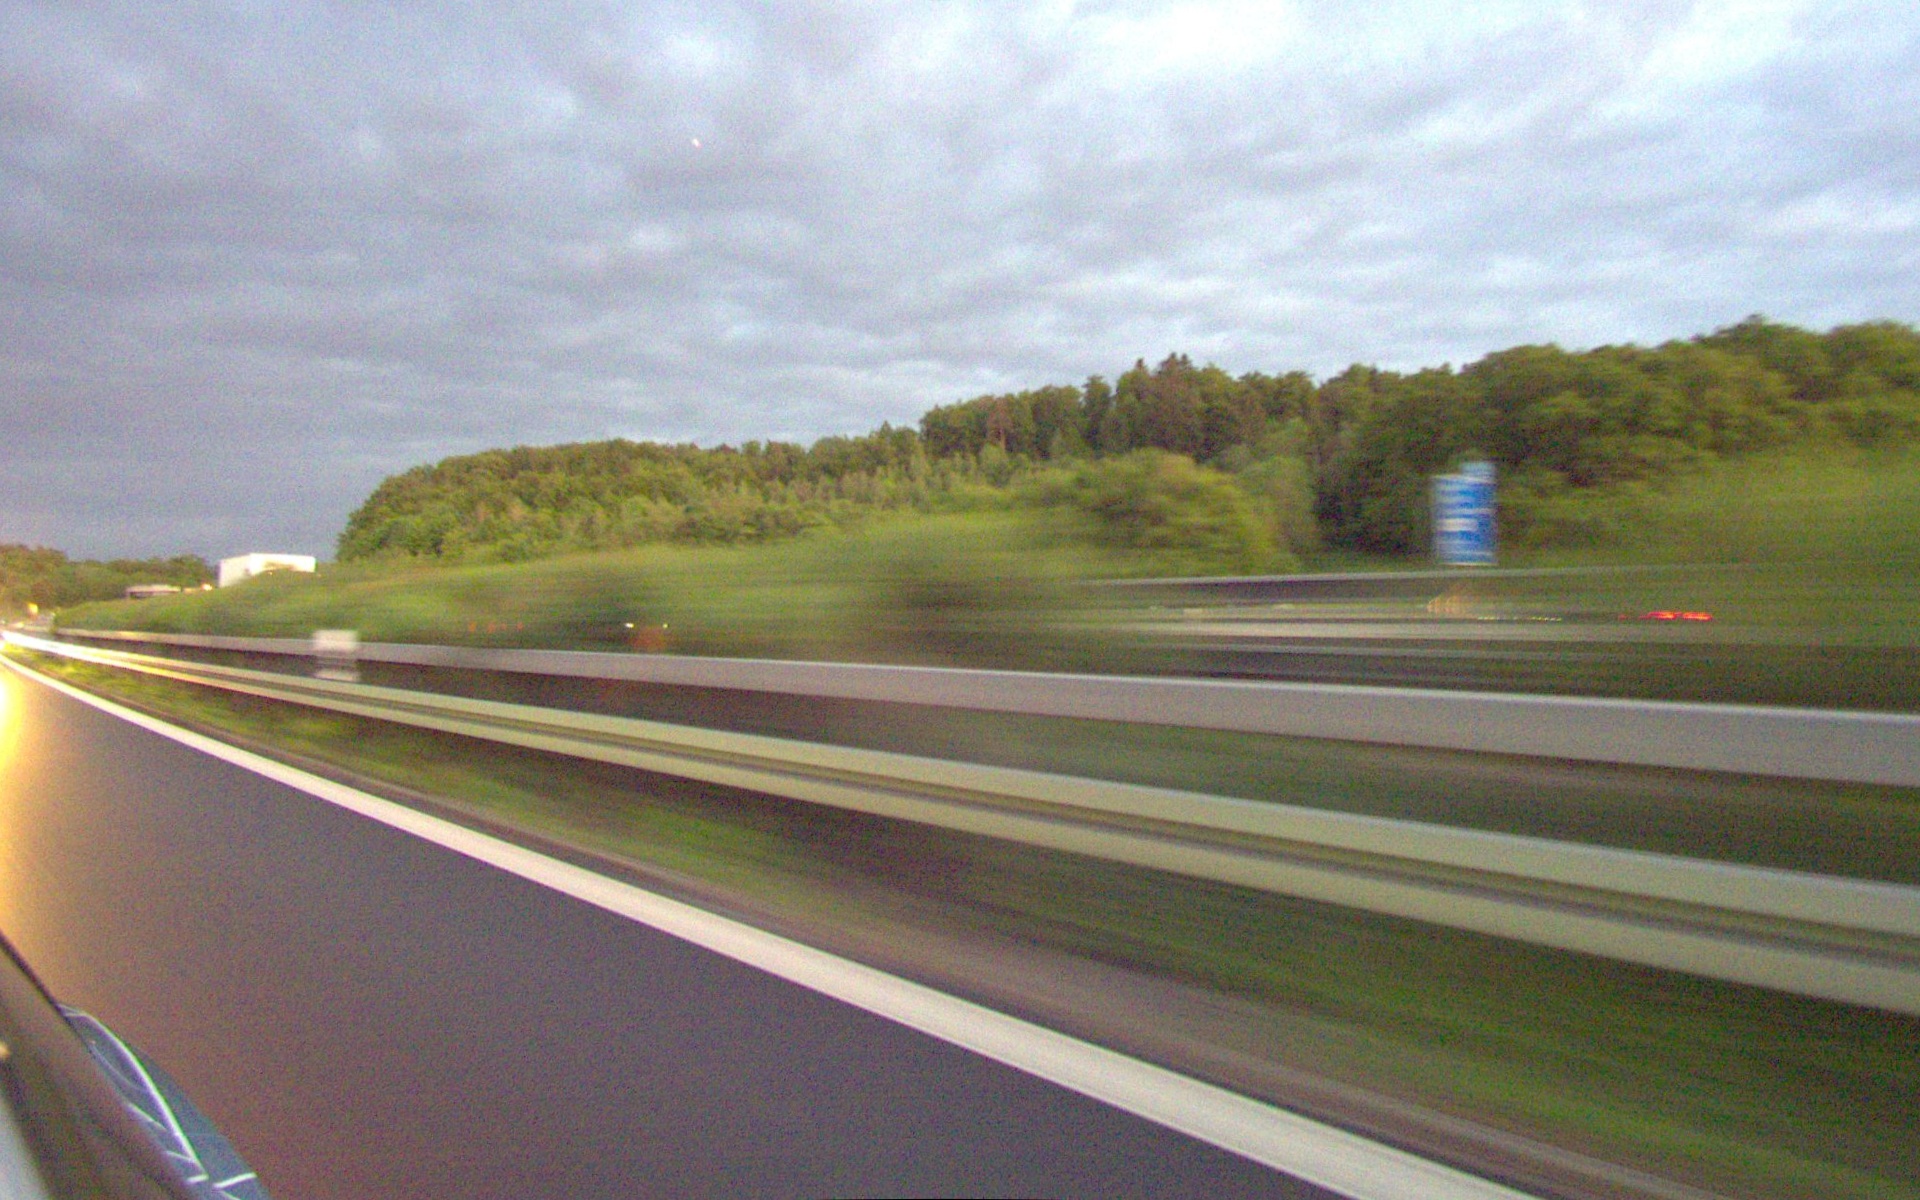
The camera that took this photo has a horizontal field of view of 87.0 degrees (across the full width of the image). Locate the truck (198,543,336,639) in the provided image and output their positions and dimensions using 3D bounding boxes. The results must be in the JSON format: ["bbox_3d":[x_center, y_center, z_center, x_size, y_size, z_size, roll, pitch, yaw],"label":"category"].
[{"bbox_3d":[-34.371,-0.383,49.994,9.882,4.334,3.008,-1,0,40],"label":"truck"}]
